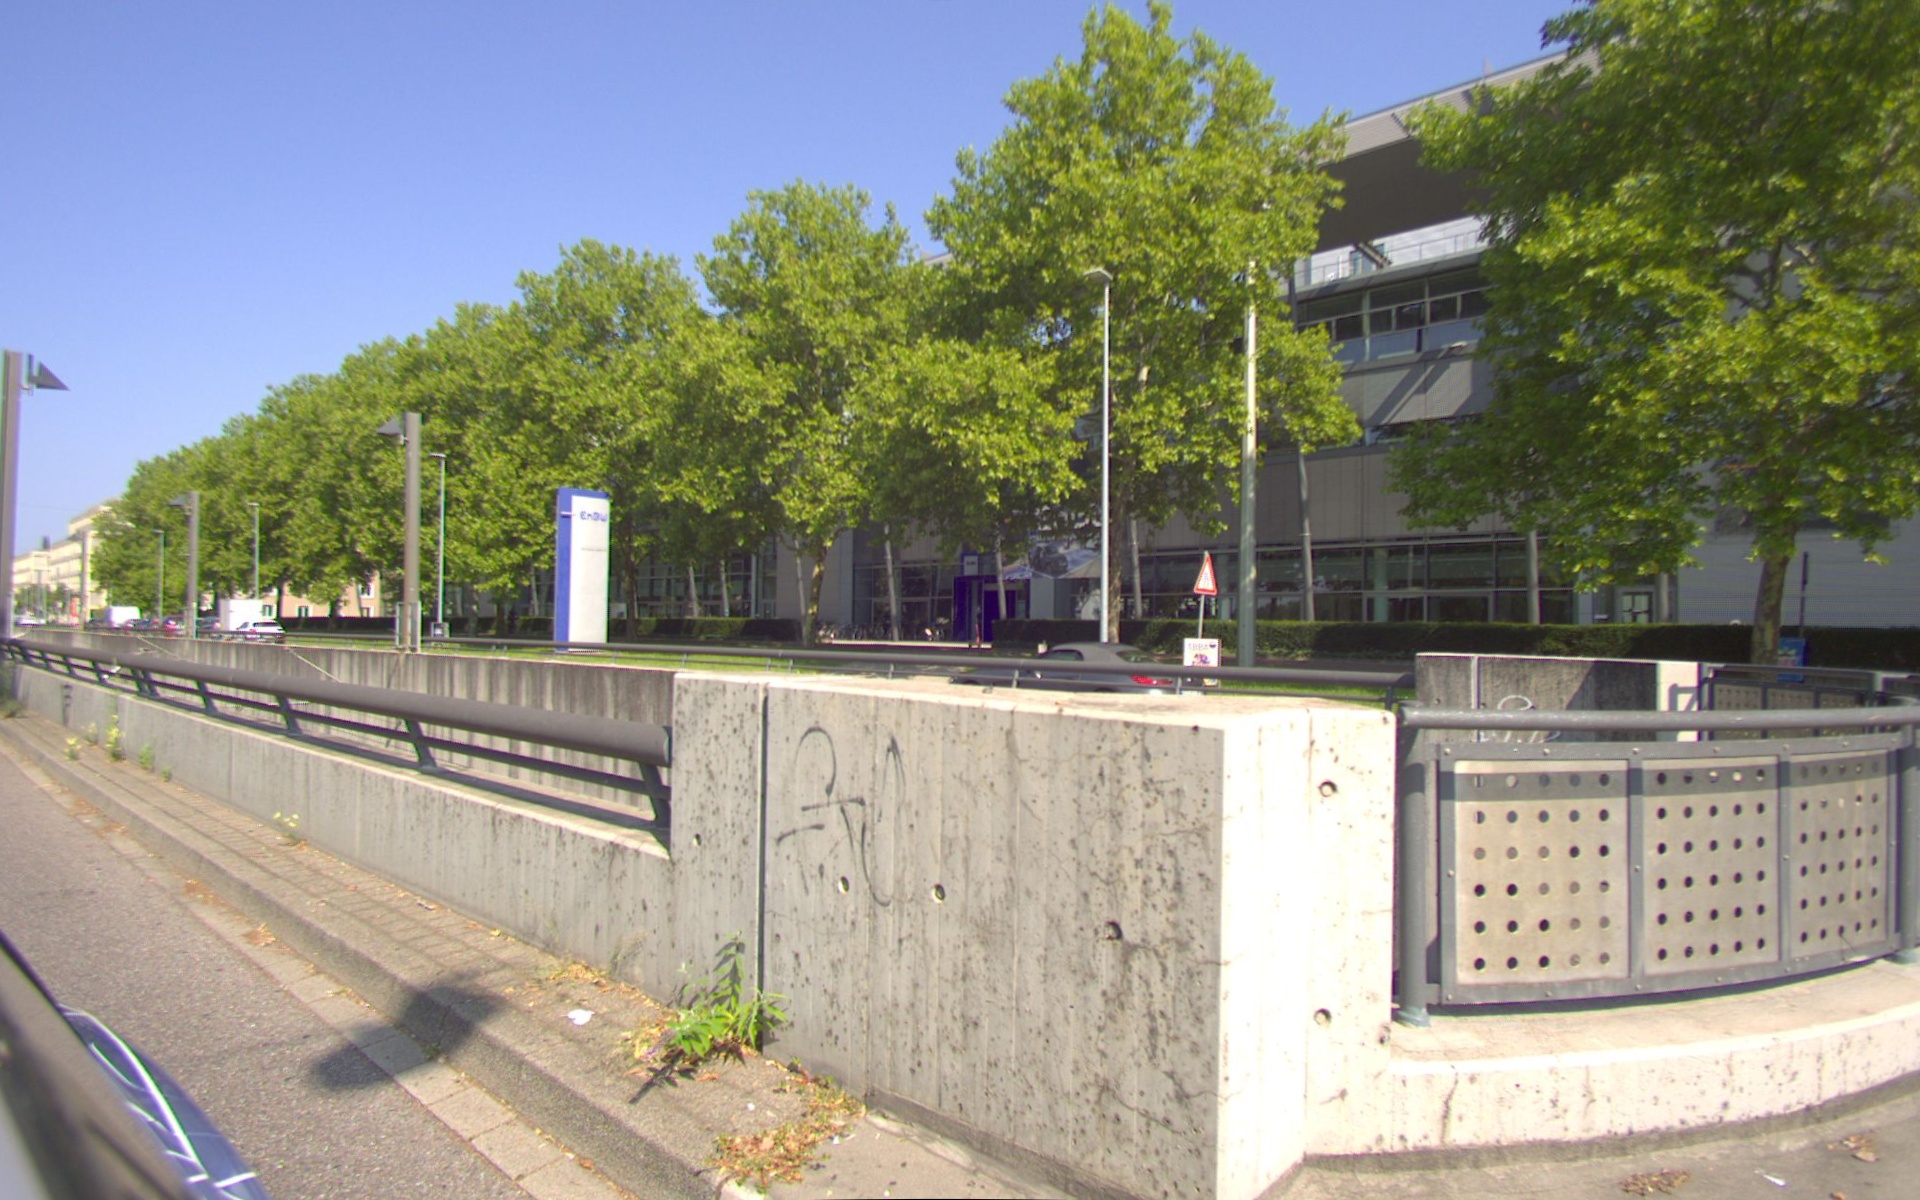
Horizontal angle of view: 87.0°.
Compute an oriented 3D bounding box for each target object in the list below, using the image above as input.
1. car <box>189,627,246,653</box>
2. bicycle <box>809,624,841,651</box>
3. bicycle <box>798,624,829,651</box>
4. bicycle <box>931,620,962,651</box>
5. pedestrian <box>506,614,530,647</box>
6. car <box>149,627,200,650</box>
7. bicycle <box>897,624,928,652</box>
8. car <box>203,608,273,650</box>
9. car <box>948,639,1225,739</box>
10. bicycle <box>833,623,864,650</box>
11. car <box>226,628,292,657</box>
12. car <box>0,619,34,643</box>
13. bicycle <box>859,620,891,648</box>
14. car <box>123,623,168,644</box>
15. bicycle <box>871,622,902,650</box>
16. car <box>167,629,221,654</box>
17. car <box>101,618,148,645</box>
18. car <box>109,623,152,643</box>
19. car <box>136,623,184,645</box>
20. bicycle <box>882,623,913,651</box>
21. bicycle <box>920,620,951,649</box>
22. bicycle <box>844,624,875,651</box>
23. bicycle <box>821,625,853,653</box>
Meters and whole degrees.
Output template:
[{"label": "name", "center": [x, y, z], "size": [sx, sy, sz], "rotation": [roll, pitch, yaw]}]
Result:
[{"label": "car", "center": [-45.051, 2.387, 61.389], "size": [3.998, 1.464, 1.973], "rotation": [-1, 0, 41]}, {"label": "bicycle", "center": [-8.213, 2.268, 61.603], "size": [0.599, 1.566, 2.144], "rotation": [-1, 0, 34]}, {"label": "bicycle", "center": [-9.000, 2.306, 62.155], "size": [0.599, 1.566, 2.144], "rotation": [-1, 0, 34]}, {"label": "bicycle", "center": [-0.772, 1.977, 56.993], "size": [0.599, 1.652, 2.144], "rotation": [-1, 0, 34]}, {"label": "pedestrian", "center": [-27.842, 1.911, 63.758], "size": [1.349, 2.029, 0.935], "rotation": [-1, 0, 44]}, {"label": "car", "center": [-53.589, 2.593, 69.037], "size": [3.998, 1.464, 1.973], "rotation": [-1, 0, 41]}, {"label": "bicycle", "center": [-2.738, 2.182, 58.383], "size": [0.599, 1.566, 2.144], "rotation": [-1, 0, 34]}, {"label": "car", "center": [-41.496, 1.635, 58.146], "size": [4.653, 2.250, 2.262], "rotation": [-1, 0, 41]}, {"label": "car", "center": [1.832, 1.252, 15.299], "size": [3.891, 1.230, 1.640], "rotation": [-1, 0, 40]}, {"label": "bicycle", "center": [-6.671, 2.175, 60.591], "size": [0.599, 1.566, 2.144], "rotation": [-1, 0, 34]}, {"label": "car", "center": [-37.821, 2.258, 54.567], "size": [3.998, 1.464, 1.973], "rotation": [-1, 0, 41]}, {"label": "car", "center": [-84.330, 2.741, 90.136], "size": [3.993, 2.029, 1.975], "rotation": [-1, 0, 37]}, {"label": "bicycle", "center": [-5.011, 2.005, 59.795], "size": [0.599, 1.566, 2.144], "rotation": [-1, 0, 34]}, {"label": "car", "center": [-61.025, 2.499, 75.828], "size": [3.998, 1.464, 1.973], "rotation": [-1, 0, 41]}, {"label": "bicycle", "center": [-4.311, 2.076, 59.308], "size": [0.599, 1.566, 2.144], "rotation": [-1, 0, 34]}, {"label": "car", "center": [-49.293, 2.621, 65.079], "size": [3.998, 1.464, 1.973], "rotation": [-1, 0, 41]}, {"label": "car", "center": [-69.702, 2.613, 84.386], "size": [4.653, 2.095, 2.262], "rotation": [-1, 0, 41]}, {"label": "car", "center": [-65.784, 2.578, 80.229], "size": [3.998, 1.464, 1.973], "rotation": [-1, 0, 41]}, {"label": "car", "center": [-57.667, 2.447, 72.954], "size": [3.998, 1.464, 1.973], "rotation": [-1, 0, 41]}, {"label": "bicycle", "center": [-3.606, 2.148, 58.863], "size": [0.599, 1.566, 2.144], "rotation": [-1, 0, 34]}, {"label": "bicycle", "center": [-1.370, 1.960, 57.475], "size": [0.599, 1.566, 2.144], "rotation": [-1, 0, 34]}, {"label": "bicycle", "center": [-5.985, 2.219, 60.250], "size": [0.599, 1.566, 2.144], "rotation": [-1, 0, 34]}, {"label": "bicycle", "center": [-7.417, 2.344, 61.048], "size": [0.599, 1.566, 2.144], "rotation": [-1, 0, 34]}]
